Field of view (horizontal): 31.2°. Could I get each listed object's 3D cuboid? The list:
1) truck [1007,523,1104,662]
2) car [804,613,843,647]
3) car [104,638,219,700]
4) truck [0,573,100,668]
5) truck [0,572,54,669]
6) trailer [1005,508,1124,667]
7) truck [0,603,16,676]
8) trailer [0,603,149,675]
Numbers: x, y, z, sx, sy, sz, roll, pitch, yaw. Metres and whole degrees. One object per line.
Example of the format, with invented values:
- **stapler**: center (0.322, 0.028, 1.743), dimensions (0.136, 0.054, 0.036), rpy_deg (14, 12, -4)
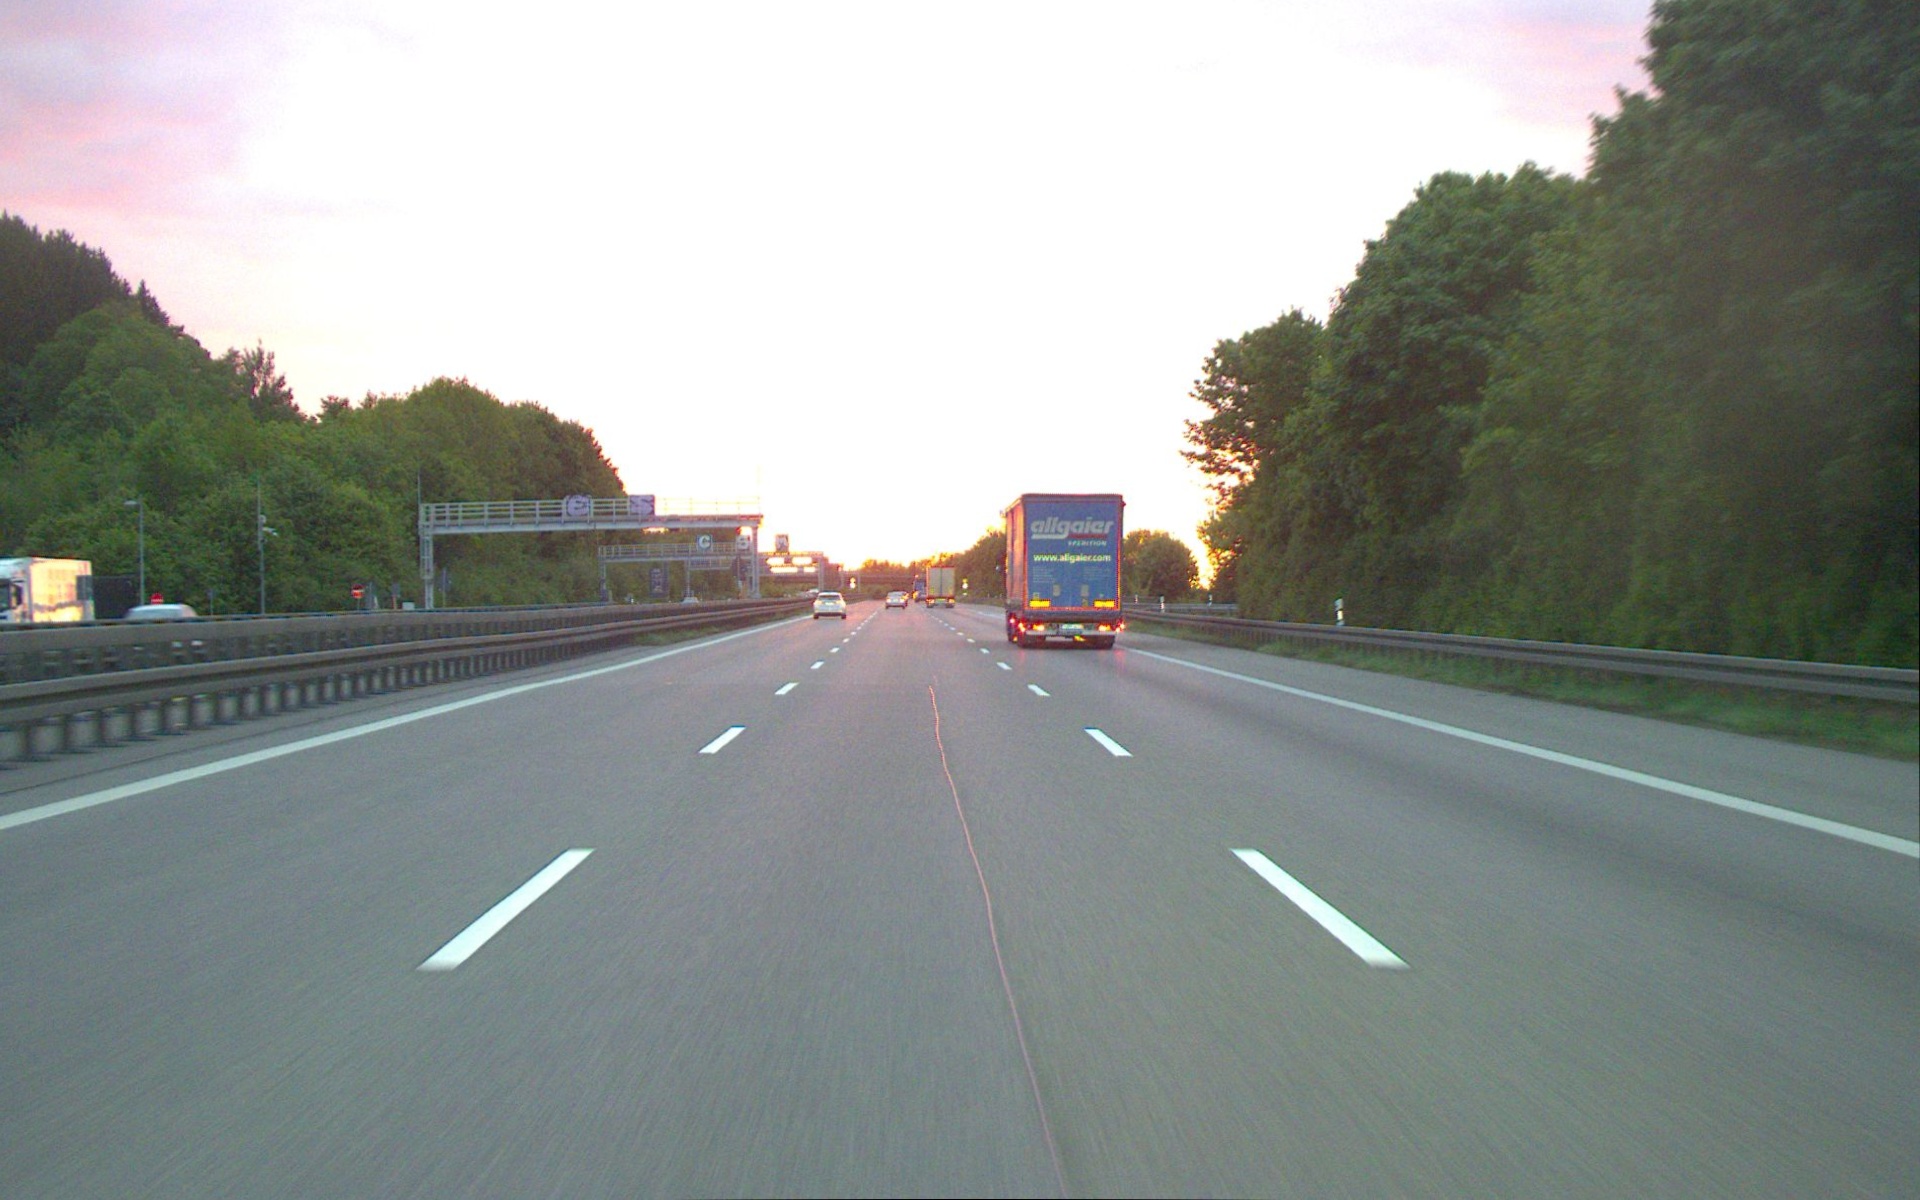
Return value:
- **truck**: center (2.795, -0.192, 102.231), dimensions (2.736, 3.983, 5.849), rpy_deg (1, -1, 1)
- **car**: center (-7.539, 1.647, 189.771), dimensions (2.013, 1.743, 3.903), rpy_deg (-3, 0, -2)
- **car**: center (-21.538, 1.841, 92.873), dimensions (1.993, 1.588, 4.740), rpy_deg (0, 0, 0)
- **truck**: center (-35.325, 0.755, 130.914), dimensions (2.873, 3.413, 13.792), rpy_deg (0, 0, -5)
- **truck**: center (-34.709, 0.729, 123.816), dimensions (2.873, 3.413, 6.727), rpy_deg (0, 0, -5)
- **trailer**: center (2.783, -0.242, 95.355), dimensions (2.772, 4.073, 13.739), rpy_deg (1, -1, 0)
- **truck**: center (-51.184, 1.971, 172.042), dimensions (3.009, 3.666, 7.665), rpy_deg (0, 0, 30)
- **trailer**: center (-47.807, 1.976, 178.004), dimensions (3.066, 3.666, 13.320), rpy_deg (0, 0, 29)
